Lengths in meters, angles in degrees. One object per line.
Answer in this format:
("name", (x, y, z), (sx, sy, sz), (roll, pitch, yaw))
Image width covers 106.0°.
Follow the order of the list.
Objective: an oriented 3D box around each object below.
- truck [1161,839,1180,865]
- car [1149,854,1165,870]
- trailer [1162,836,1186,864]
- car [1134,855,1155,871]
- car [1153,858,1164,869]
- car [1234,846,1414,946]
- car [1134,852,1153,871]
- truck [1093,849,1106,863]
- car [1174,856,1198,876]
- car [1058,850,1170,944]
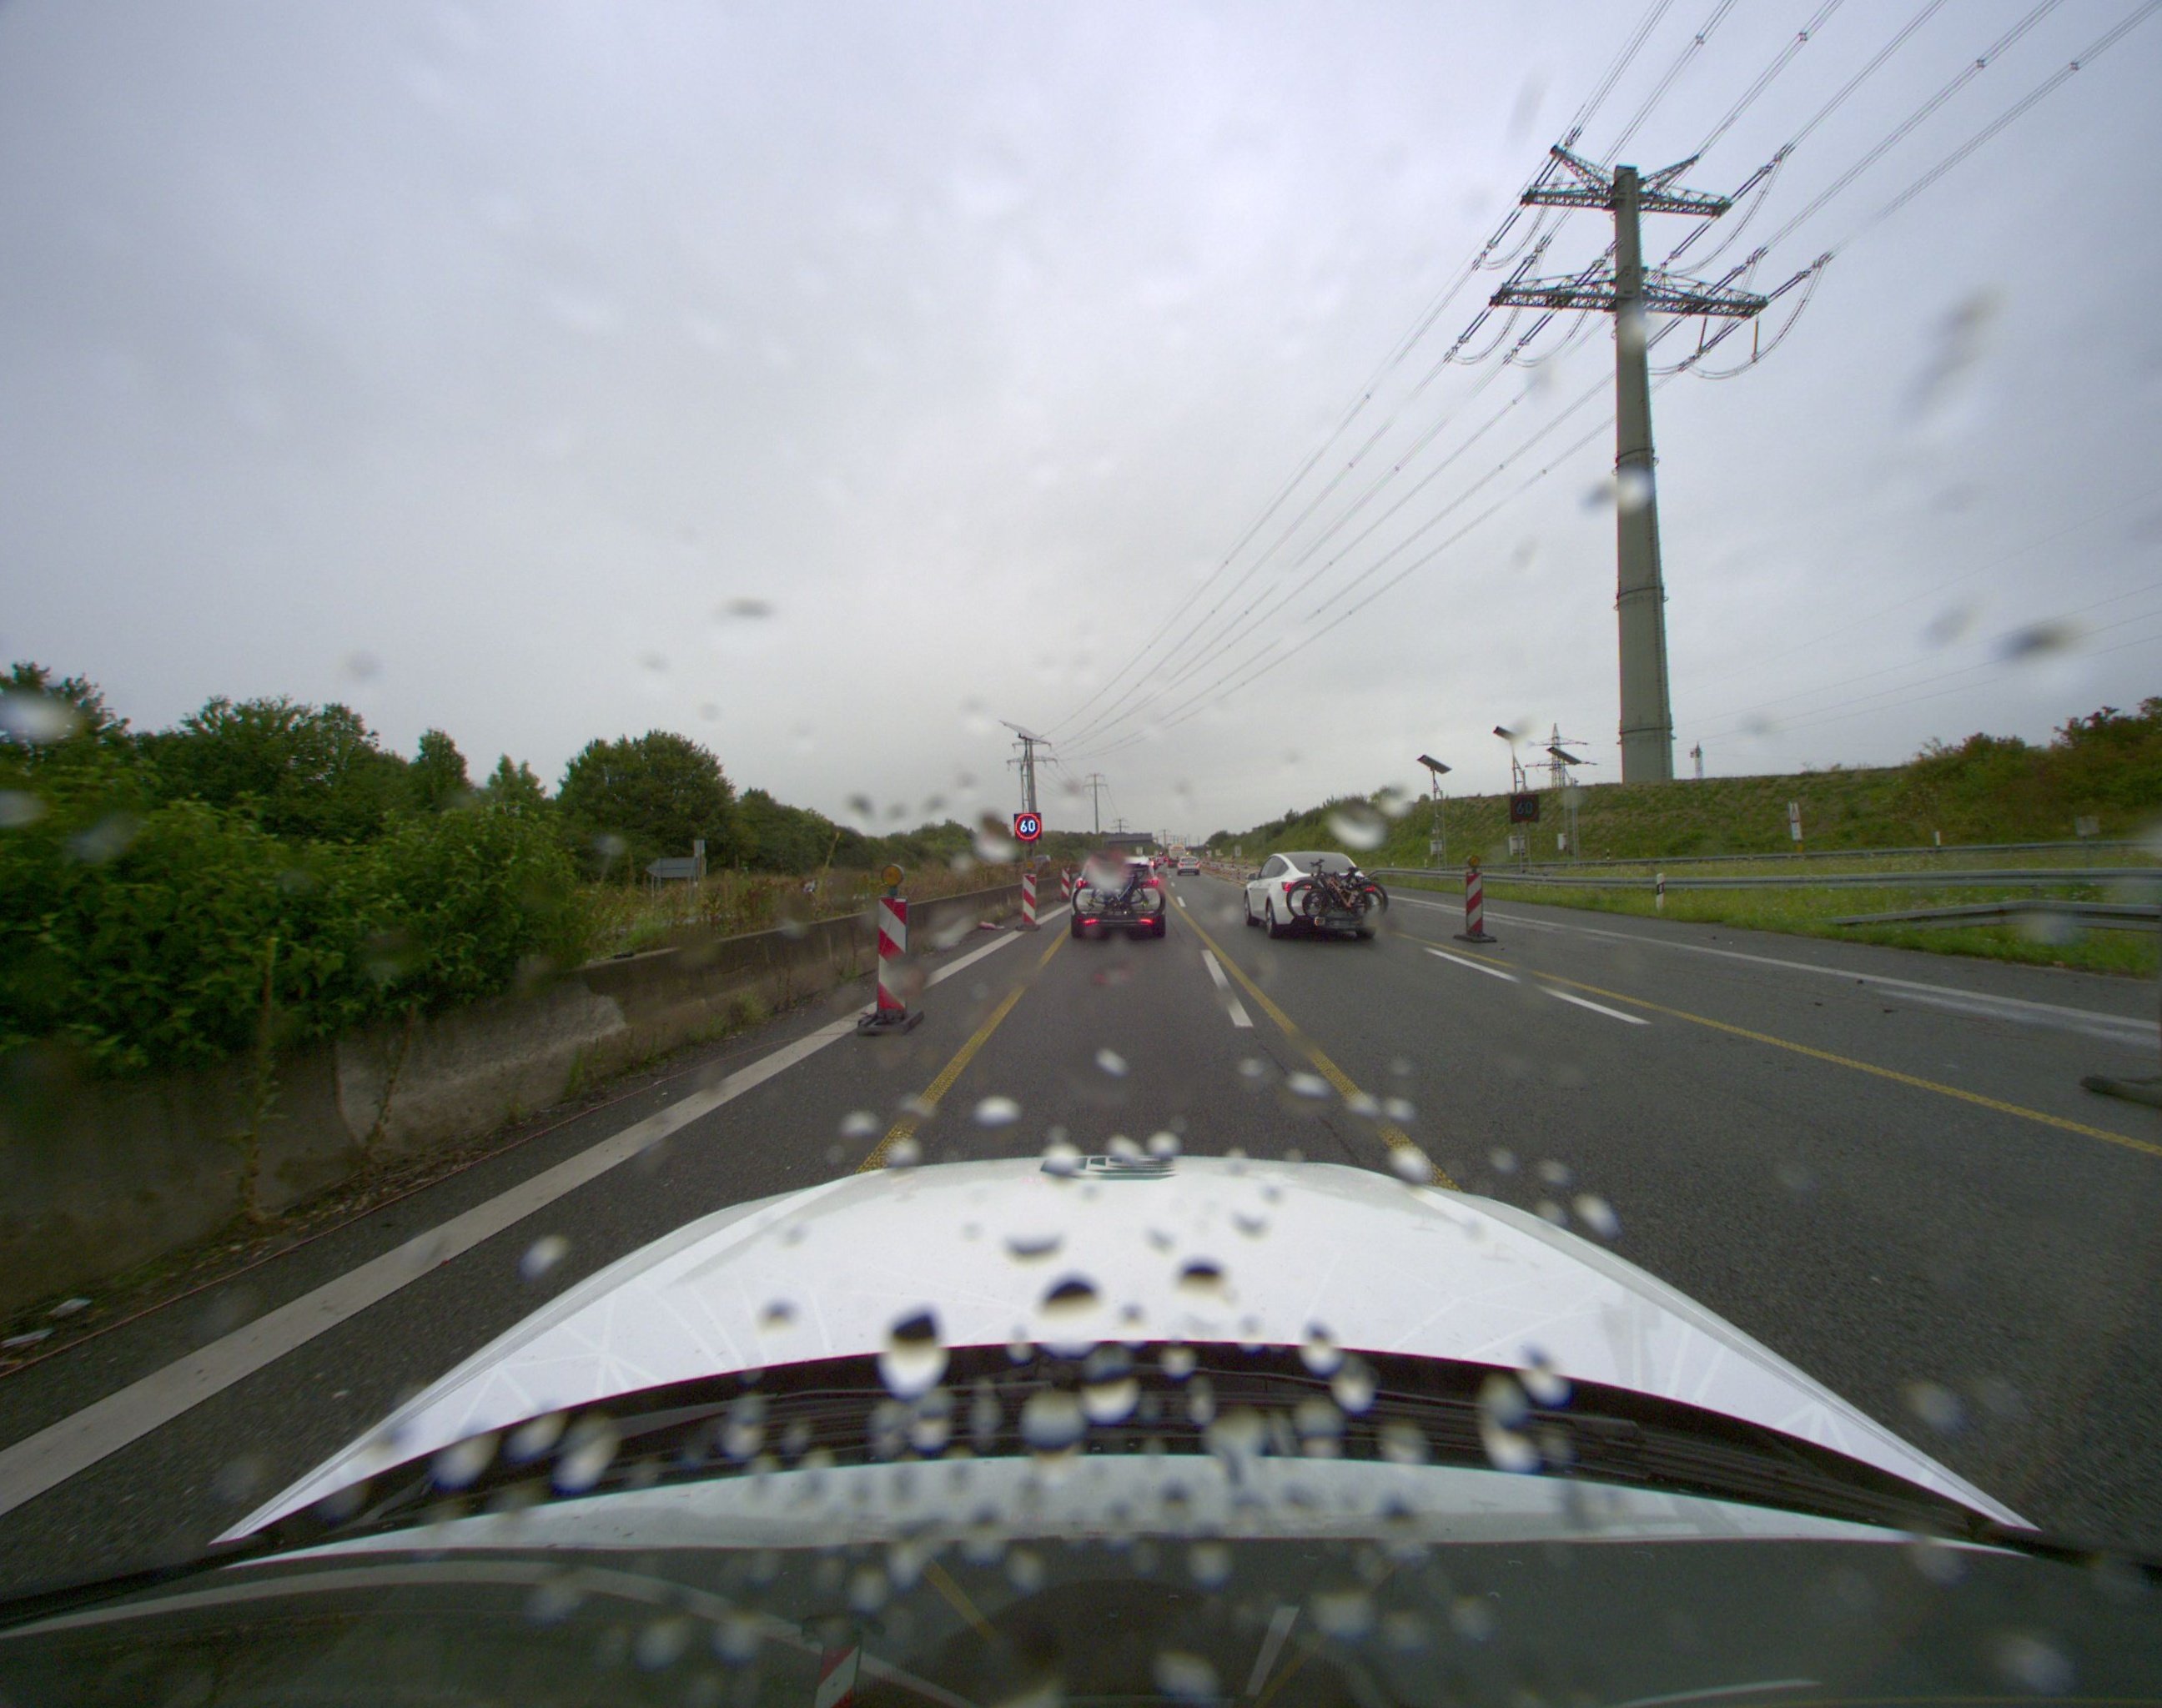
("truck", (13.723, -0.345, 125.228), (2.634, 3.891, 4.032), (0, -1, 2))
("car", (10.490, 1.125, 112.762), (1.985, 2.013, 4.003), (0, 1, 2))
("trailer", (13.438, -0.468, 118.584), (2.627, 3.893, 10.549), (0, -1, 2))
("car", (6.419, 0.878, 82.990), (1.986, 1.584, 4.002), (-1, 0, 2))
("car", (14.777, 1.887, 155.562), (1.985, 2.014, 4.002), (0, -1, 2))
("car", (4.470, 0.702, 16.062), (2.037, 1.596, 5.805), (0, 0, 2))
("car", (7.126, 0.839, 93.175), (1.986, 2.013, 4.002), (-3, 0, 2))
("truck", (4.938, 0.454, 213.408), (3.010, 3.531, 4.932), (0, -1, 4))
("car", (8.657, 0.963, 67.345), (1.861, 1.535, 4.203), (-1, 0, 6))
("car", (0.760, 0.758, 16.432), (1.919, 1.611, 4.601), (-1, 0, 5))
